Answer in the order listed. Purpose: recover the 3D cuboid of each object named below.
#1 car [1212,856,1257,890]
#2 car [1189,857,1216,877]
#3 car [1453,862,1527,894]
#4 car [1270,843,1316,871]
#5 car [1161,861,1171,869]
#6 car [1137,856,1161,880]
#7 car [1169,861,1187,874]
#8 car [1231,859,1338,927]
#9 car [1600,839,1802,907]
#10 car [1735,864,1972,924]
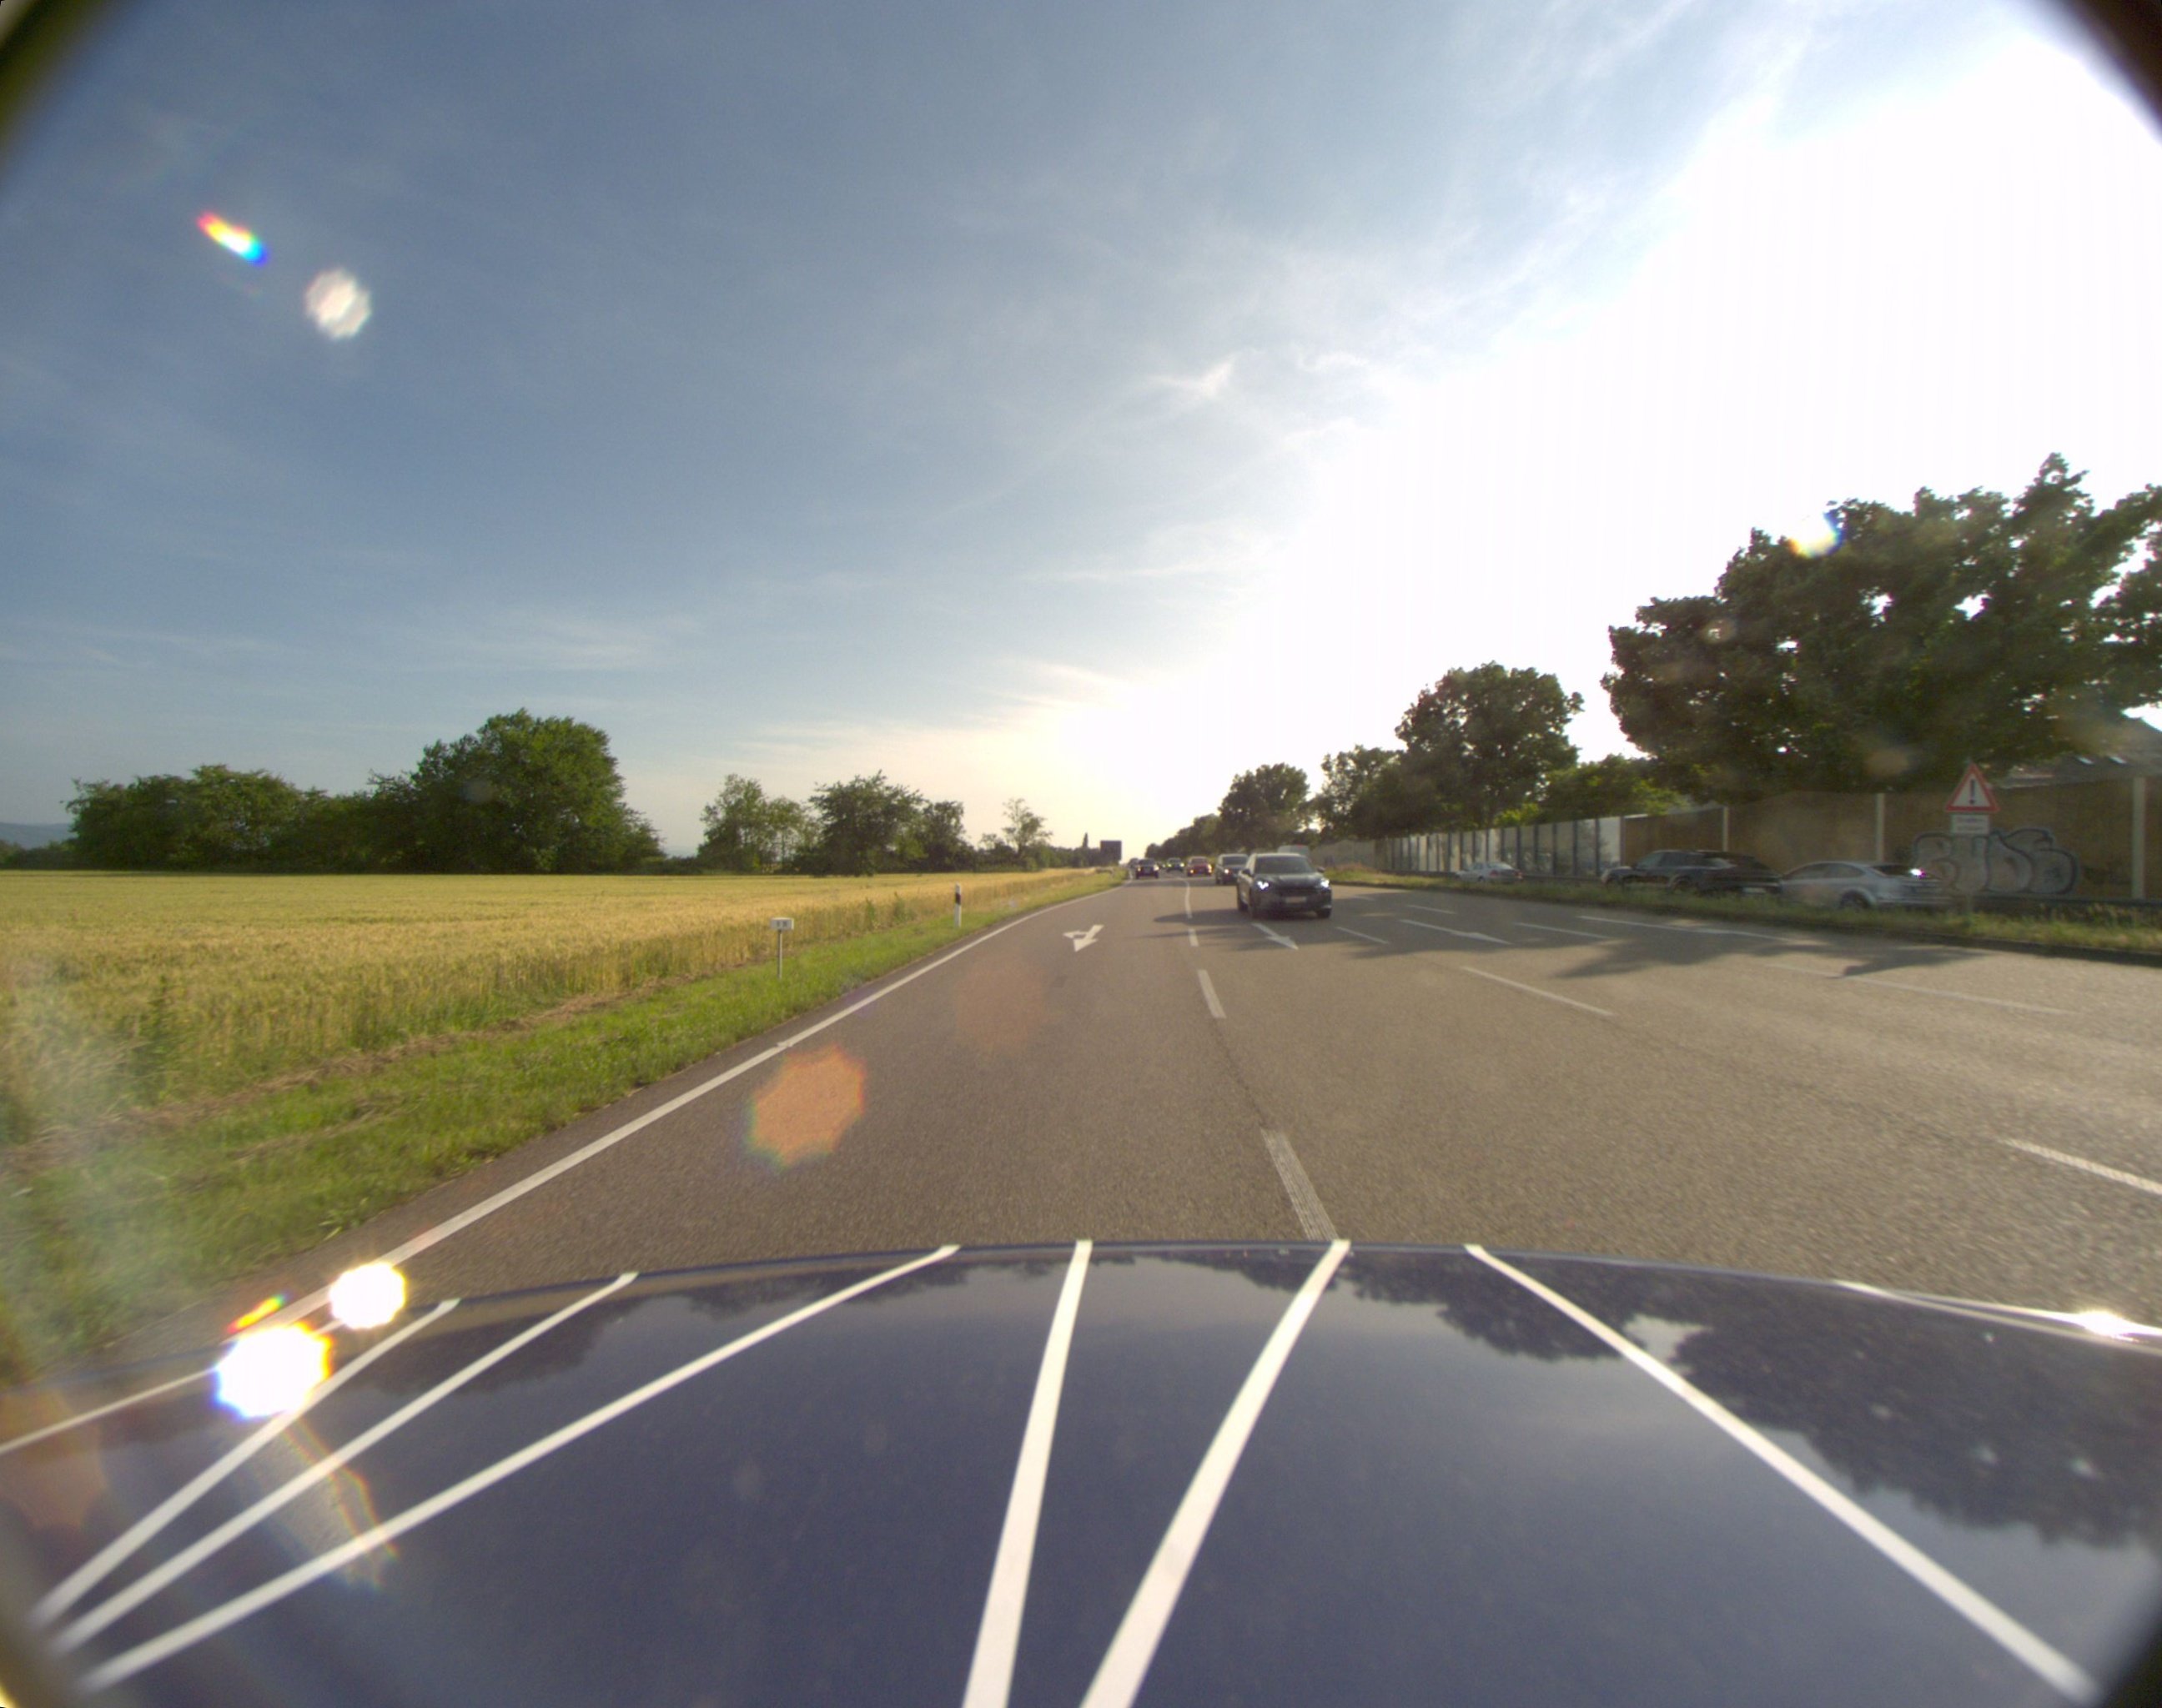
[{"bbox_3d":[8.301,0.976,41.401,1.822,1.724,4.001,-2,0,4],"label":"car"},{"bbox_3d":[10.235,1.078,64.181,1.822,1.661,4.001,-2,0,4],"label":"car"},{"bbox_3d":[21.612,1.223,40.370,1.655,1.558,4.713,-2,0,4],"label":"car"},{"bbox_3d":[18.927,0.273,68.124,2.353,2.290,7.193,-2,0,3],"label":"car"},{"bbox_3d":[16.174,2.101,144.712,1.693,1.397,4.001,-2,0,3],"label":"car"},{"bbox_3d":[5.264,1.056,59.170,1.806,1.783,4.001,-2,0,4],"label":"car"},{"bbox_3d":[11.894,1.598,93.628,1.809,1.499,4.001,-2,0,3],"label":"car"},{"bbox_3d":[5.045,0.899,19.424,1.821,1.516,4.248,-2,0,4],"label":"car"},{"bbox_3d":[16.866,0.479,21.082,1.735,1.615,4.924,-2,0,3],"label":"car"},{"bbox_3d":[20.124,0.974,20.142,1.784,1.315,4.606,-2,0,4],"label":"car"}]
